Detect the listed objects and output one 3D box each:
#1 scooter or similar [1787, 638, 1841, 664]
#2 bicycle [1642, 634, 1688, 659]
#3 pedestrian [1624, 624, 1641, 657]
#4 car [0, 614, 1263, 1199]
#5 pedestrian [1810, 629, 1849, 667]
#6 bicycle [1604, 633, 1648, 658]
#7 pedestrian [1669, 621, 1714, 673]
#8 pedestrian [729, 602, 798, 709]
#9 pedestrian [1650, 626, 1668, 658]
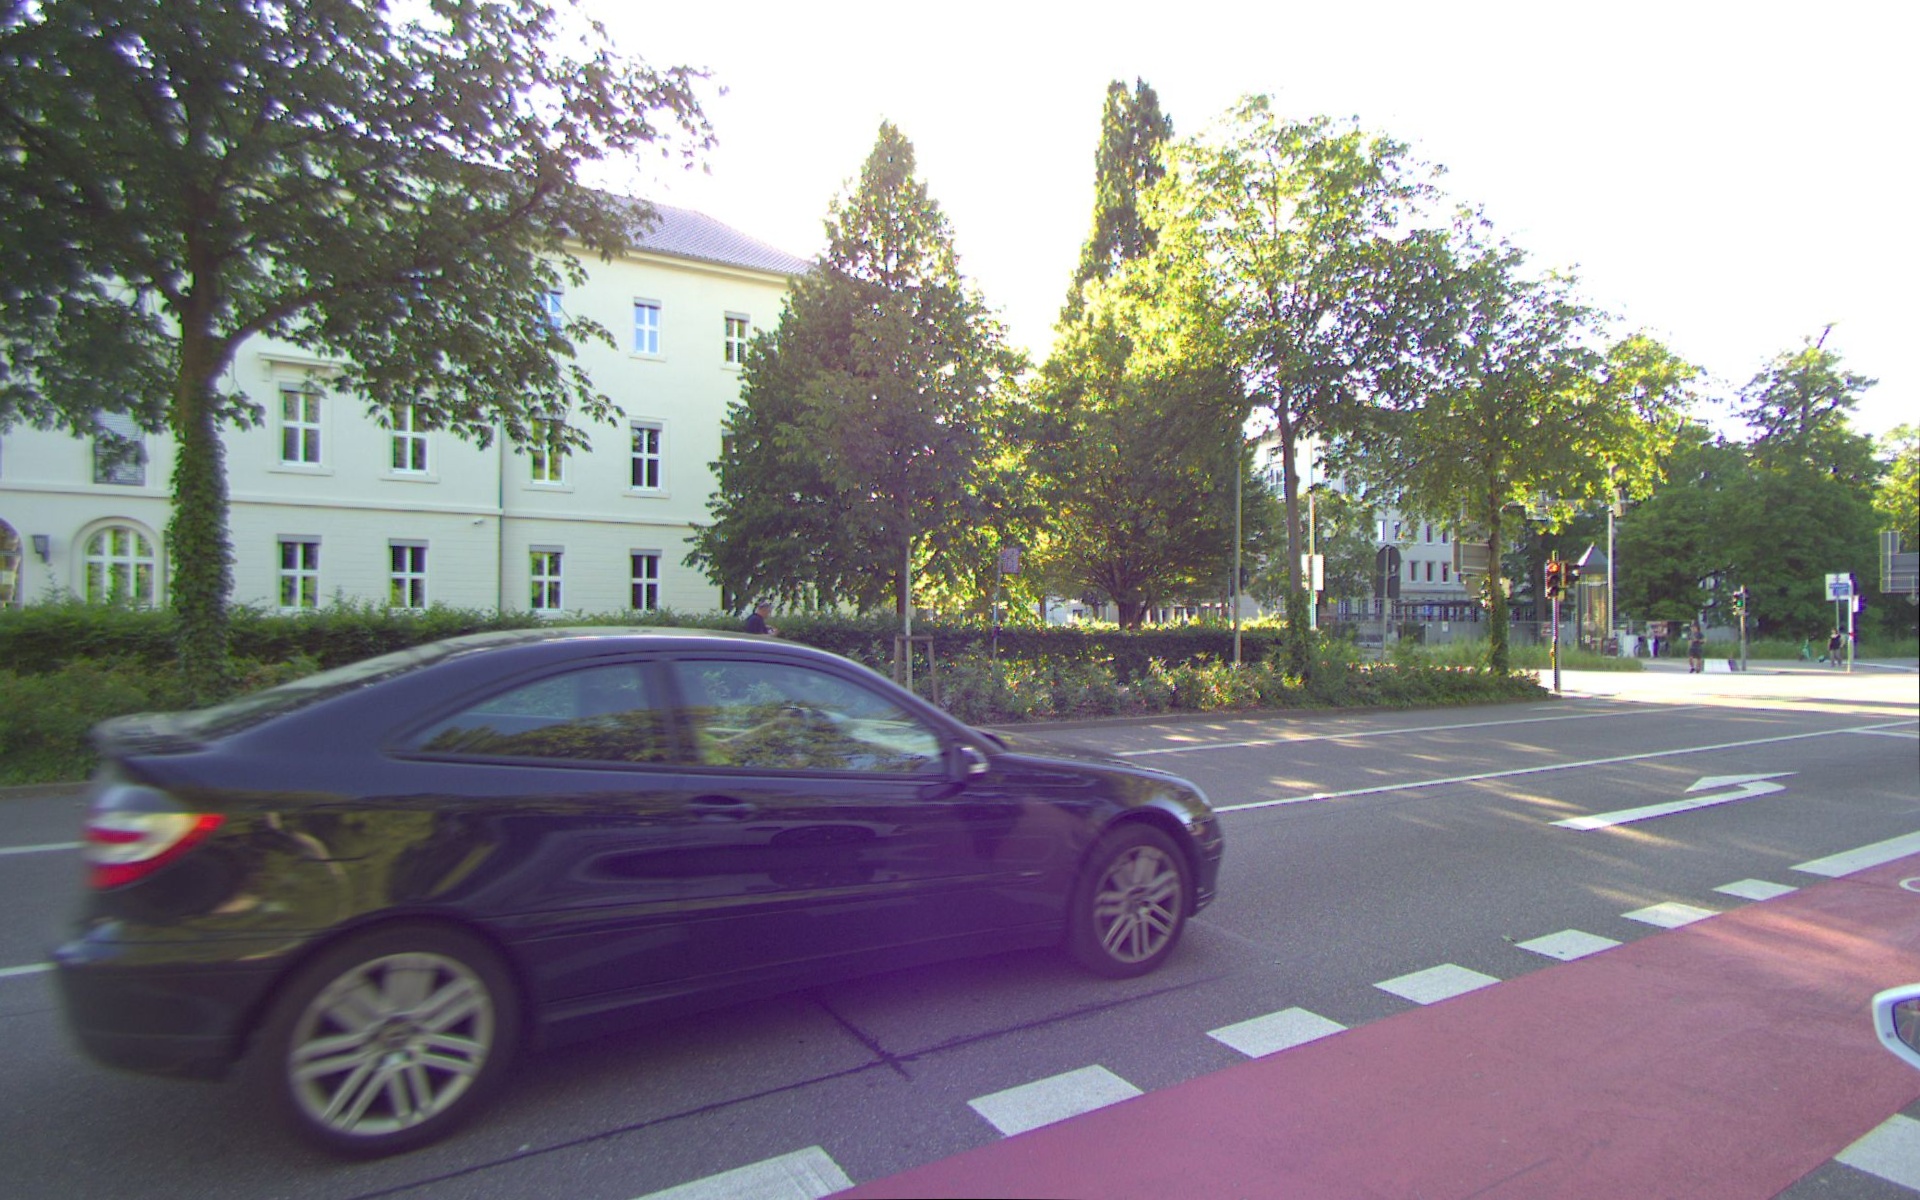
[{"bbox_3d":[39.516,2.343,46.491,1.882,1.139,0.713,1,0,3],"label":"scooter or similar"},{"bbox_3d":[34.981,2.316,49.876,0.288,1.163,1.849,1,-1,-36],"label":"bicycle"},{"bbox_3d":[34.247,2.075,51.140,0.442,1.664,0.624,1,0,-39],"label":"pedestrian"},{"bbox_3d":[-0.898,0.799,4.042,4.216,1.423,1.696,1,-2,-32],"label":"car"},{"bbox_3d":[38.051,2.082,43.968,0.992,1.624,1.080,1,-2,-36],"label":"pedestrian"},{"bbox_3d":[34.249,2.333,51.686,0.438,1.163,1.849,1,-1,-36],"label":"bicycle"},{"bbox_3d":[29.114,1.867,39.983,1.175,2.040,0.992,1,0,-25],"label":"pedestrian"},{"bbox_3d":[-3.305,0.918,16.868,0.956,1.743,0.831,1,-2,-28],"label":"pedestrian"},{"bbox_3d":[34.828,2.083,50.017,0.442,1.601,0.624,1,0,-39],"label":"pedestrian"}]
